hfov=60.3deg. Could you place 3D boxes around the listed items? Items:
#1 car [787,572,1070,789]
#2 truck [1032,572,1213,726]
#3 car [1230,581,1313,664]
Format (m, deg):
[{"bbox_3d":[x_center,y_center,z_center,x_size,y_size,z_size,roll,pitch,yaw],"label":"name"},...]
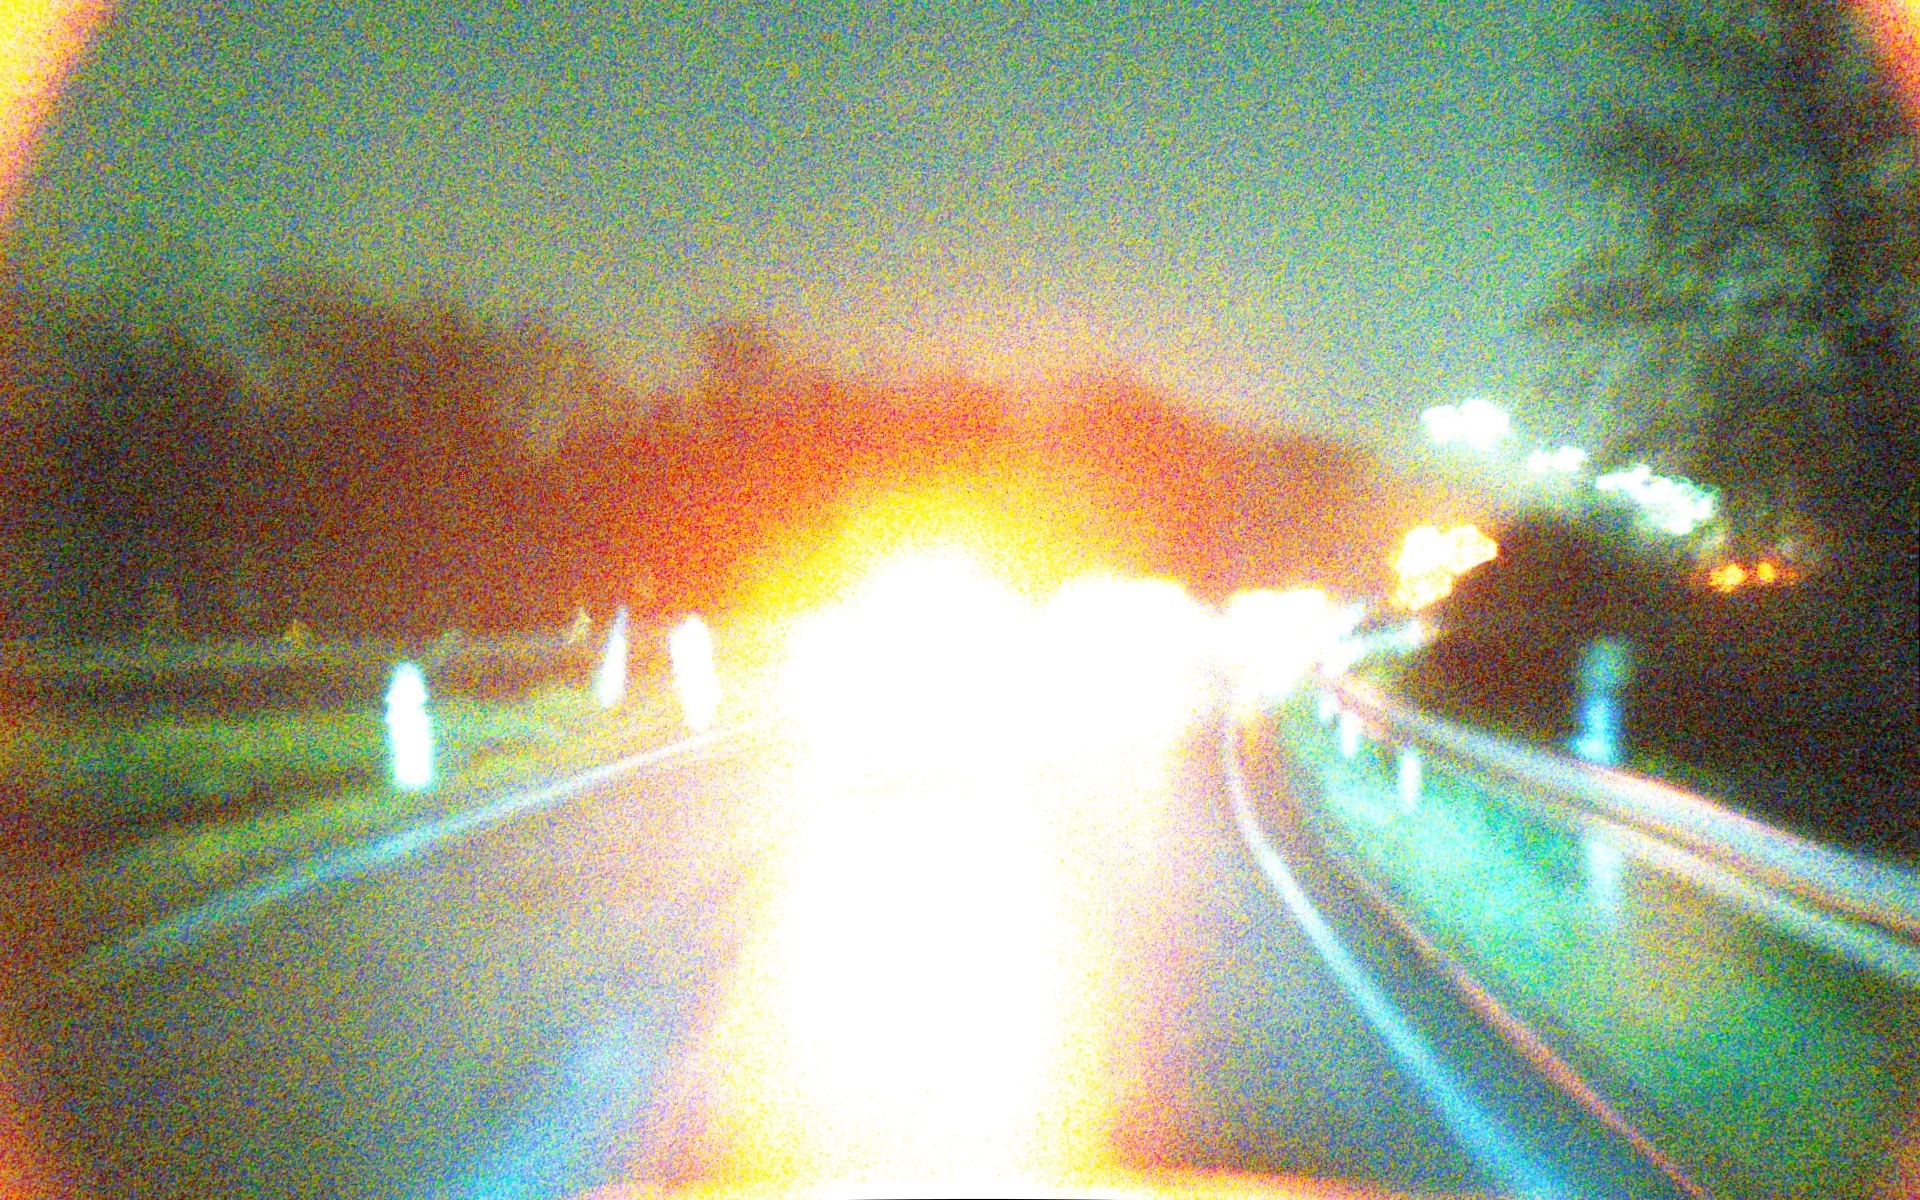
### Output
[{"bbox_3d":[-0.117,0.590,14.015,1.903,1.517,3.718,-3,0,6],"label":"car"},{"bbox_3d":[3.285,0.817,31.543,3.004,2.572,7.172,0,0,9],"label":"truck"},{"bbox_3d":[7.976,0.540,42.116,1.797,1.982,4.003,0,0,14],"label":"car"}]
